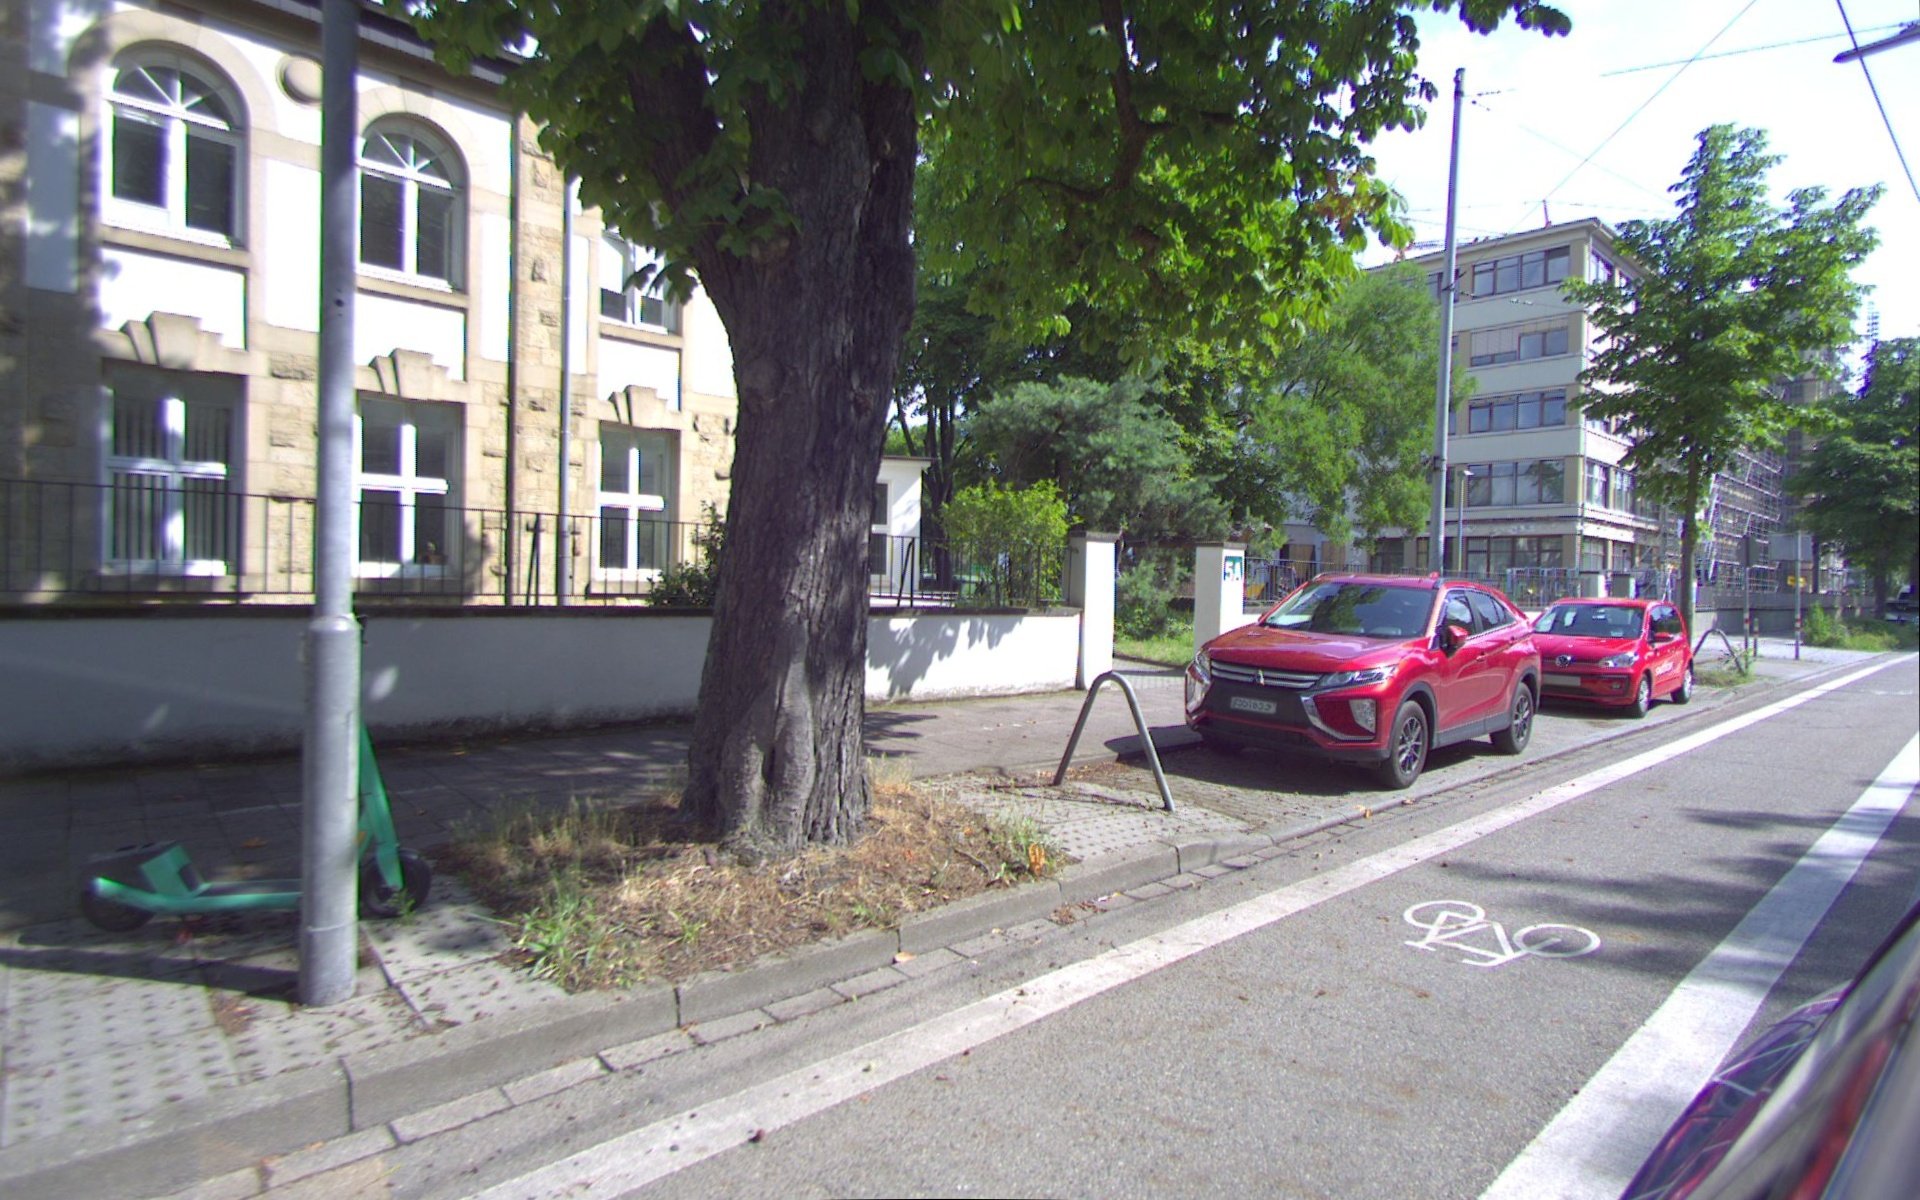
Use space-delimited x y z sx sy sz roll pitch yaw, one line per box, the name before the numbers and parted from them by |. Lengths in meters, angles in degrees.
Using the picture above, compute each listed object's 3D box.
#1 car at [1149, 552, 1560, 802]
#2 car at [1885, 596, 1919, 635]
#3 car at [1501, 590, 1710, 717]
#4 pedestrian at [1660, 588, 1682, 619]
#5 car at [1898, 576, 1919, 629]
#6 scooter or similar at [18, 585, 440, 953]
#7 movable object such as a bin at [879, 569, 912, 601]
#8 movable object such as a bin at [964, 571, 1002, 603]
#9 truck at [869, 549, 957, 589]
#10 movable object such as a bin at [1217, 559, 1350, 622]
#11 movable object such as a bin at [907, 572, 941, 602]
car | 3.731 0.494 9.157 4.212 1.697 1.878 0 3 -45
car | 41.842 0.634 44.234 4.166 1.627 1.747 -1 -1 -43
car | 8.994 0.629 14.004 3.536 1.446 1.602 -1 3 -44
pedestrian | 31.037 0.167 44.201 0.454 1.329 0.635 -3 1 -35
car | 49.228 0.106 51.112 5.300 2.593 2.333 -1 -1 -43
scooter or similar | -2.686 0.597 3.816 1.233 1.252 0.343 2 3 -18
movable object such as a bin | -2.806 -0.653 43.855 1.166 1.309 1.006 2 1 -18
movable object such as a bin | 1.003 -0.571 44.902 1.338 1.369 1.097 2 1 -18
truck | -3.513 -2.289 76.447 6.425 2.814 2.002 1 -2 -29
movable object such as a bin | 14.370 -0.429 45.320 5.351 2.474 1.992 4 0 13
movable object such as a bin | -1.574 -0.580 44.137 1.247 1.235 1.031 2 1 -17
